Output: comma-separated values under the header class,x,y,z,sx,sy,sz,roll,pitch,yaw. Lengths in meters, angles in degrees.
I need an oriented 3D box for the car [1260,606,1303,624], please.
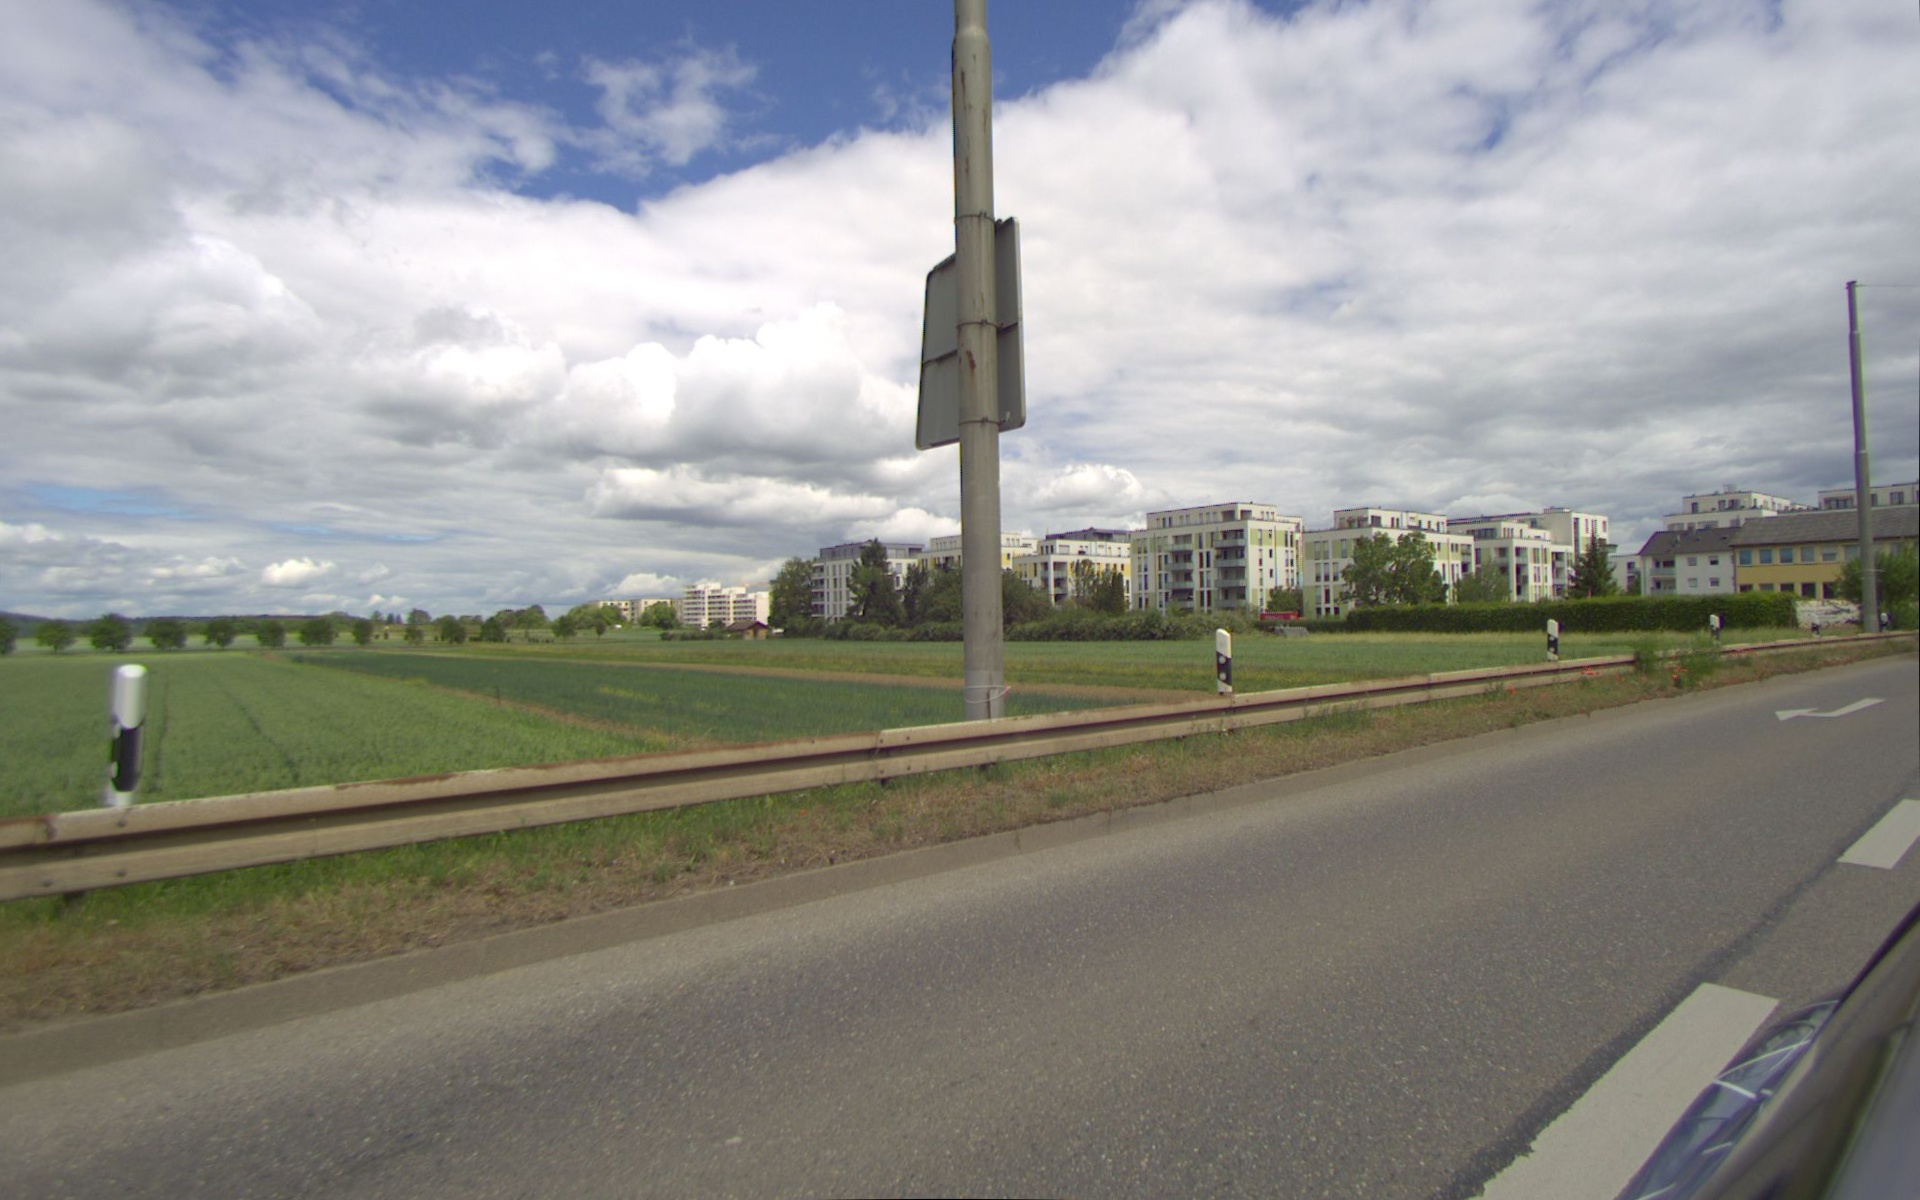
class,x,y,z,sx,sy,sz,roll,pitch,yaw
car,37.716,1.759,118.806,1.966,2.039,4.432,-1,0,-41
